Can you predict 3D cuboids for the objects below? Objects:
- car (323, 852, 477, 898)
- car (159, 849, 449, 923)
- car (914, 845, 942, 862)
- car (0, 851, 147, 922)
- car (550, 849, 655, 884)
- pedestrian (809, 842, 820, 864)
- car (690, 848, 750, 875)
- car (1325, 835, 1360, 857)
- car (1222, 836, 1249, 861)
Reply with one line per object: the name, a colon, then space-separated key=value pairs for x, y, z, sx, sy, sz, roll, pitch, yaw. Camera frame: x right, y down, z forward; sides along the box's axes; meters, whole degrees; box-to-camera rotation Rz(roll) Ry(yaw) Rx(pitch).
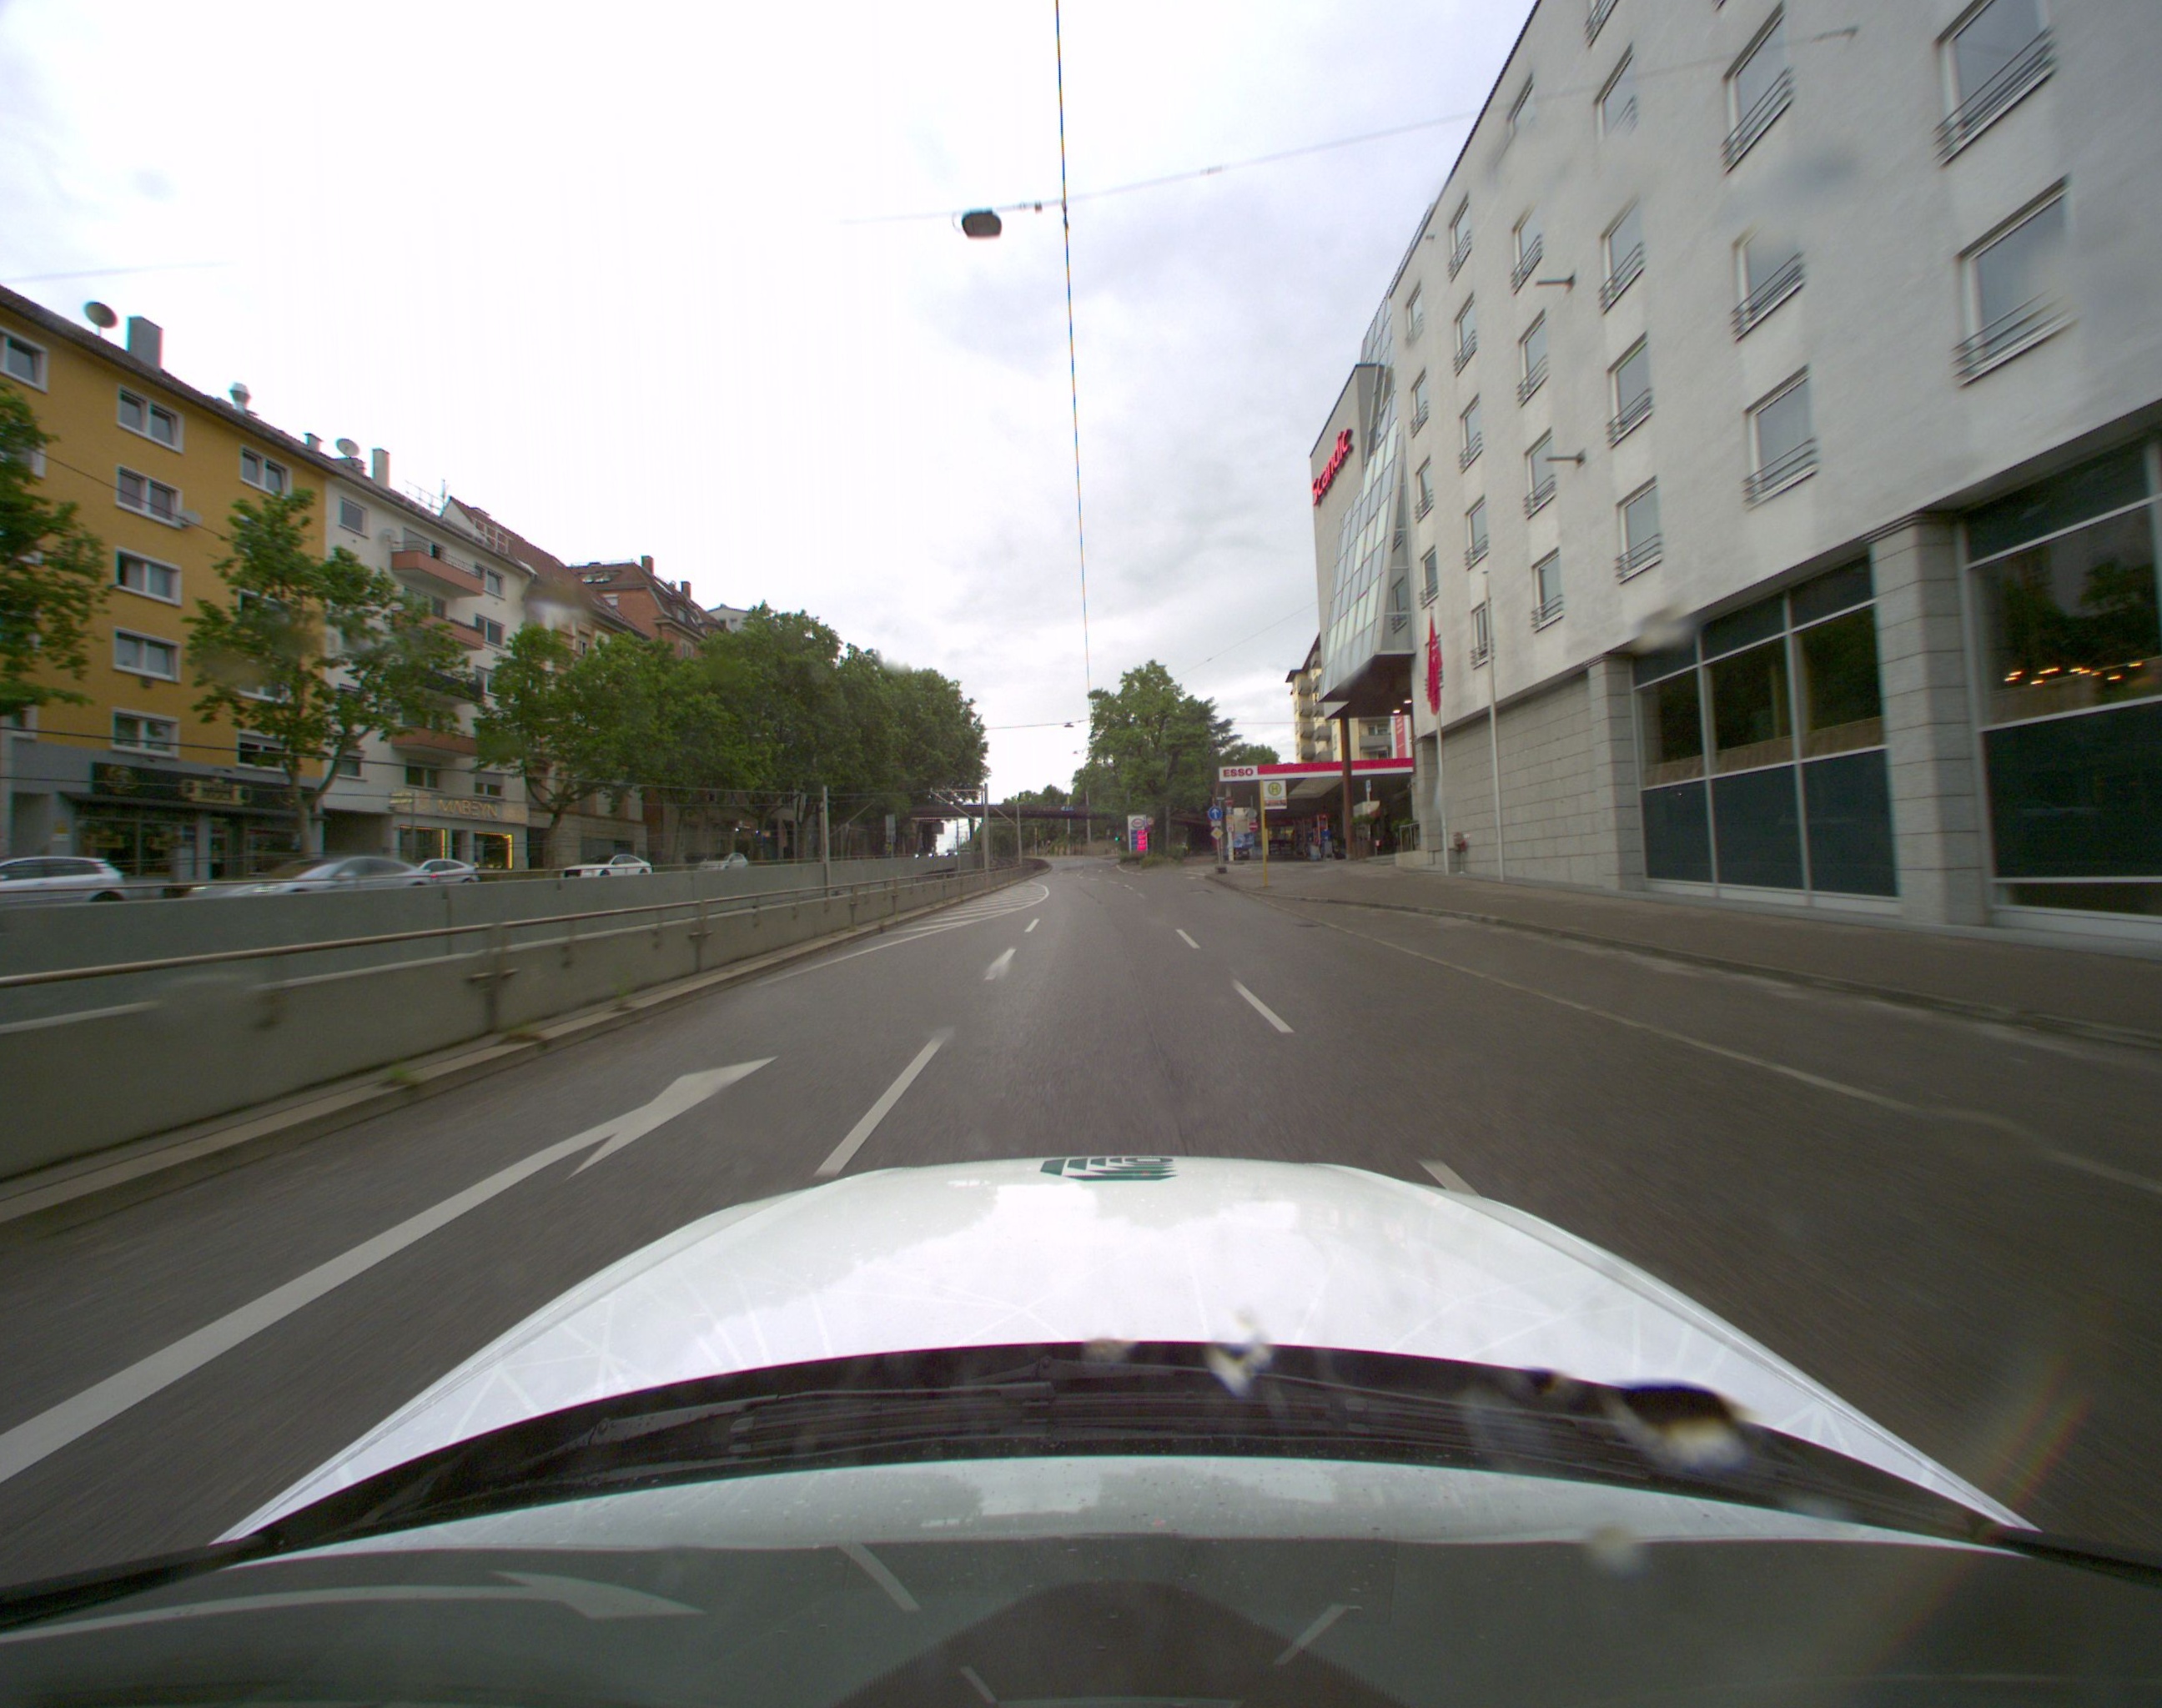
car: x=-24.104 y=0.683 z=29.066 sx=1.787 sy=1.510 sz=4.211 roll=0 pitch=0 yaw=3
car: x=-18.040 y=0.656 z=19.361 sx=2.018 sy=1.510 sz=4.887 roll=0 pitch=0 yaw=3
car: x=-17.311 y=-0.060 z=92.488 sx=1.948 sy=1.852 sz=4.973 roll=0 pitch=0 yaw=3
car: x=-25.088 y=0.741 z=18.917 sx=1.787 sy=1.571 sz=4.211 roll=0 pitch=0 yaw=3
car: x=-23.414 y=0.551 z=40.165 sx=1.919 sy=1.601 sz=5.202 roll=0 pitch=0 yaw=2
pedestrian: x=-24.046 y=-0.101 z=73.476 sx=0.666 sy=2.014 sz=0.936 roll=0 pitch=-1 yaw=4
car: x=-22.596 y=0.445 z=51.101 sx=1.787 sy=1.611 sz=4.114 roll=0 pitch=0 yaw=2
car: x=19.334 y=-0.587 z=60.380 sx=1.784 sy=1.510 sz=4.009 roll=0 pitch=-1 yaw=8
car: x=10.884 y=-0.366 z=57.437 sx=1.761 sy=1.623 sz=3.877 roll=-4 pitch=-1 yaw=10
